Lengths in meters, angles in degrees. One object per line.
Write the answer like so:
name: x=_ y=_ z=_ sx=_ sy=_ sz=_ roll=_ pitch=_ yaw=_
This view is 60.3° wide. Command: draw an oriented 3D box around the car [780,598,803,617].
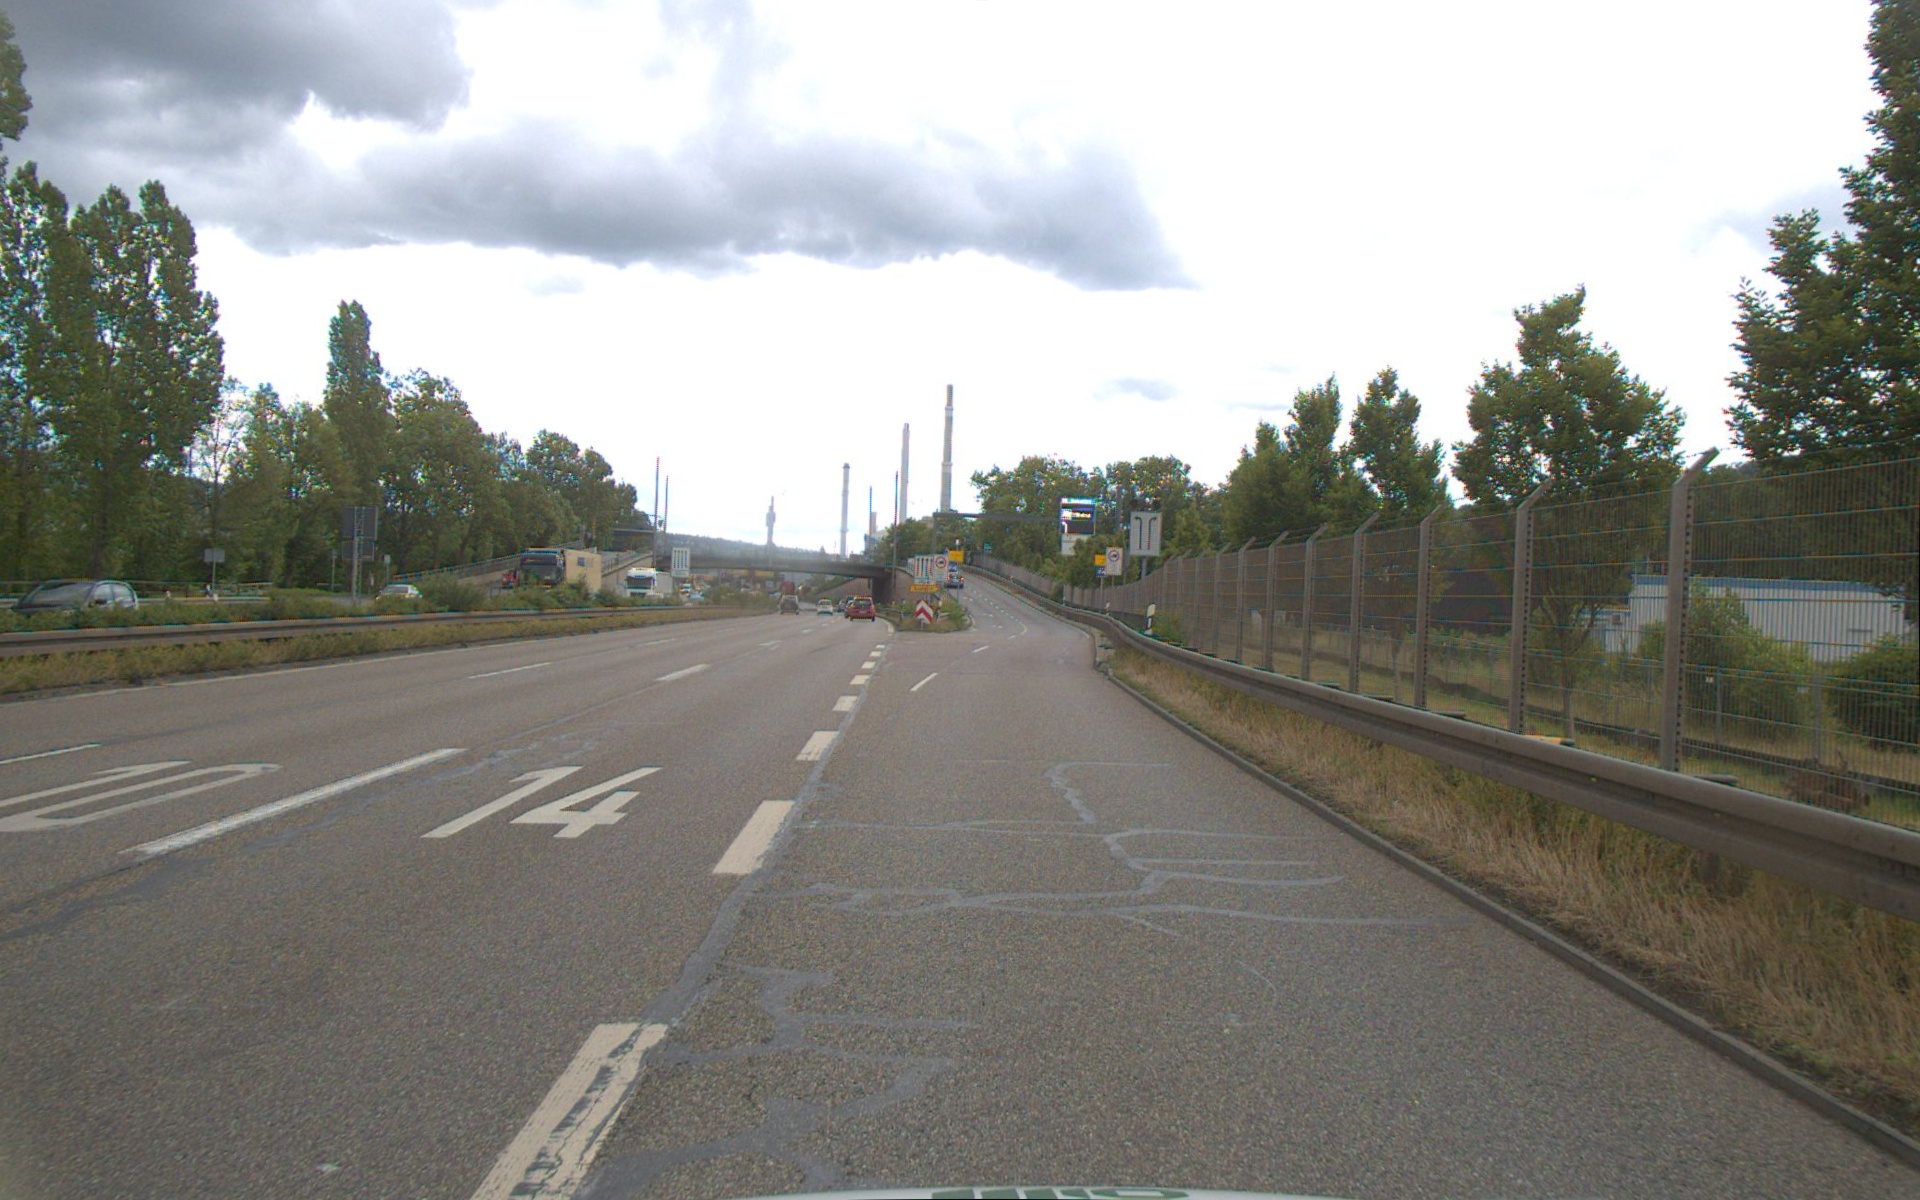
car: x=-17.090 y=0.718 z=167.858 sx=1.953 sy=1.713 sz=3.999 roll=3 pitch=1 yaw=-2

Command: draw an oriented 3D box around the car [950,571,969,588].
car: x=-0.010 y=-2.031 z=166.495 sx=1.714 sy=1.608 sz=4.086 roll=3 pitch=0 yaw=2

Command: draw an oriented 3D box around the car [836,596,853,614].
car: x=-14.256 y=0.661 z=204.624 sx=1.881 sy=2.048 sz=3.995 roll=3 pitch=1 yaw=-6

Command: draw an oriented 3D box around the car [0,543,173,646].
car: x=-19.240 y=-0.139 z=36.514 sx=1.955 sy=2.048 sz=3.997 roll=3 pitch=0 yaw=-5

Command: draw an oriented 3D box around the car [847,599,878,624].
car: x=-6.446 y=0.737 z=109.099 sx=1.954 sy=1.444 sz=3.997 roll=3 pitch=1 yaw=-4

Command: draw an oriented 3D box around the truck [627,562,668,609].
truck: x=-27.852 y=-1.266 z=147.514 sx=2.735 sy=4.006 sz=5.308 roll=3 pitch=0 yaw=-4

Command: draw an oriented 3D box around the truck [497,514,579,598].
truck: x=-25.356 y=-2.608 z=99.678 sx=3.394 sy=4.754 sz=6.208 roll=2 pitch=0 yaw=-3

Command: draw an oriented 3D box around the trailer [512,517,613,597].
trailer: x=-25.704 y=-2.652 z=107.902 sx=3.394 sy=4.754 sz=14.775 roll=2 pitch=0 yaw=-2

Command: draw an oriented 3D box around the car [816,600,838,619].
car: x=-13.436 y=0.945 z=167.520 sx=1.953 sy=1.713 sz=3.999 roll=3 pitch=1 yaw=-2
